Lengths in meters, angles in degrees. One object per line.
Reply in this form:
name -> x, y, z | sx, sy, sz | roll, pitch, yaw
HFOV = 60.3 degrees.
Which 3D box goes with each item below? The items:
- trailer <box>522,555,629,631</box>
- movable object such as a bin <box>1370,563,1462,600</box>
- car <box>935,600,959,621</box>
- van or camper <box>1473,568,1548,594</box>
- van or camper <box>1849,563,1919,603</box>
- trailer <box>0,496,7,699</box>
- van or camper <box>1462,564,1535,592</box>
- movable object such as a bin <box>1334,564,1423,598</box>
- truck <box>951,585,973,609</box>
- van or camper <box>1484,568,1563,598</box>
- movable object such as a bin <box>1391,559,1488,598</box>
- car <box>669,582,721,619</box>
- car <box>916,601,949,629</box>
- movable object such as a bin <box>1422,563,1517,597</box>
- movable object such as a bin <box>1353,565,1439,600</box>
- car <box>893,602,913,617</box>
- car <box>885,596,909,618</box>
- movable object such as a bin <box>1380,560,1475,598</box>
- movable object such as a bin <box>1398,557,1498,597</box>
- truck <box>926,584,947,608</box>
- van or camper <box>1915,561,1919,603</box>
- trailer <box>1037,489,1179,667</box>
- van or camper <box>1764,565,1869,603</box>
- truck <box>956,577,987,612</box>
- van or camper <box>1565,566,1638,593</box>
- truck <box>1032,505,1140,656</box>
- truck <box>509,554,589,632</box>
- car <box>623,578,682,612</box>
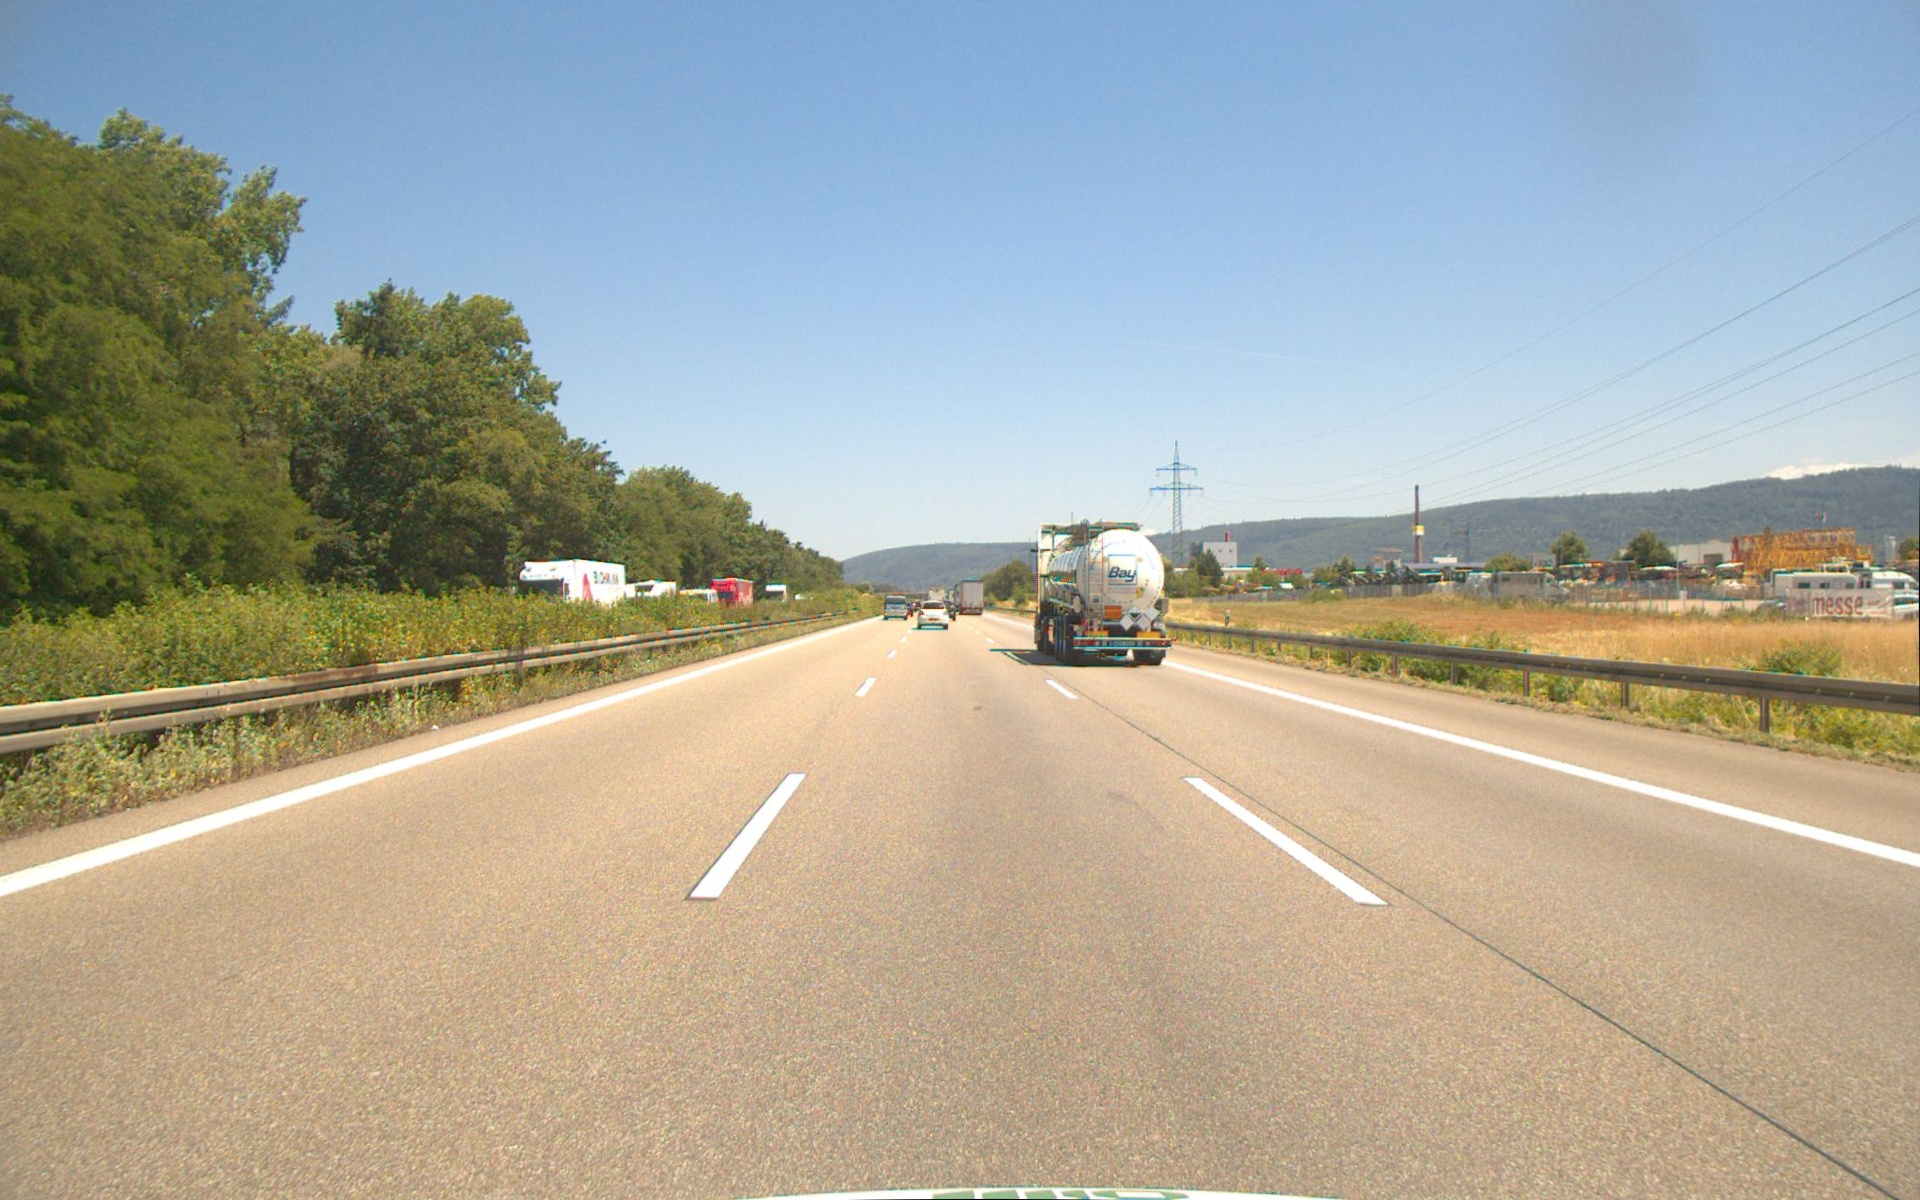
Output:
trailer -> -20.857, -0.360, 90.766 | 2.768, 3.774, 13.925 | 1, 0, -1
movable object such as a bin -> 51.462, -2.094, 186.875 | 9.516, 3.754, 2.633 | -2, 0, 1
car -> -1.074, 0.817, 132.016 | 1.846, 1.542, 3.999 | 1, 0, -1
van or camper -> 50.805, -1.740, 152.745 | 5.991, 2.259, 2.602 | -1, 0, 0
van or camper -> 67.689, -1.240, 119.874 | 5.152, 2.724, 2.615 | -1, 0, -3
trailer -> -19.819, -0.048, 24.515 | 2.559, 3.952, 15.579 | 1, 0, -1
van or camper -> 50.743, -2.089, 155.934 | 5.991, 2.444, 2.602 | -1, 0, 0
movable object such as a bin -> 50.821, -2.254, 201.026 | 10.046, 3.754, 2.393 | -2, 0, -1
truck -> 0.317, -0.448, 251.844 | 3.034, 3.535, 11.539 | 1, 0, -1
van or camper -> 50.948, -1.526, 149.639 | 6.212, 2.597, 2.438 | -1, 0, 0
movable object such as a bin -> 51.443, -2.314, 177.551 | 9.511, 3.754, 2.978 | -2, 0, 5
car -> -13.596, 0.030, 85.190 | 2.050, 1.811, 5.457 | 1, 0, -3
car -> -1.518, 0.815, 91.471 | 1.770, 1.494, 3.999 | 1, 0, -1
movable object such as a bin -> 51.474, -1.986, 167.297 | 8.545, 3.059, 3.216 | -2, 0, 4
movable object such as a bin -> 51.900, -2.068, 197.072 | 9.520, 3.754, 2.678 | -2, 0, -1
car -> -5.562, 0.958, 162.228 | 1.798, 1.411, 3.999 | 1, 0, -1
car -> -5.035, 0.532, 133.105 | 1.814, 1.661, 3.999 | 1, 0, -1
movable object such as a bin -> 51.686, -2.297, 182.985 | 9.516, 3.753, 2.977 | -2, 0, 1
movable object such as a bin -> 51.233, -2.372, 173.987 | 9.511, 3.754, 3.420 | -2, 0, 5
truck -> -3.705, -0.576, 254.928 | 3.034, 3.535, 11.539 | 1, 0, -1
van or camper -> 67.504, -1.306, 110.274 | 6.317, 2.815, 2.421 | -1, 0, -3
trailer -> 3.764, -0.540, 44.684 | 2.528, 4.145, 11.100 | 1, 0, -1
van or camper -> 65.152, -1.203, 125.907 | 6.223, 2.724, 3.324 | -1, 0, -2
truck -> 1.330, -0.611, 195.383 | 3.199, 3.925, 11.628 | 1, 0, -1
van or camper -> 62.181, -1.959, 160.334 | 5.991, 2.444, 2.602 | -1, 0, 0
truck -> 3.663, -0.554, 49.379 | 2.521, 4.143, 6.391 | 1, 0, -1
truck -> -20.787, -0.350, 83.948 | 2.738, 3.786, 5.116 | 1, 0, 0
car -> -17.237, -0.271, 92.974 | 2.255, 1.811, 5.423 | 1, 0, 0
